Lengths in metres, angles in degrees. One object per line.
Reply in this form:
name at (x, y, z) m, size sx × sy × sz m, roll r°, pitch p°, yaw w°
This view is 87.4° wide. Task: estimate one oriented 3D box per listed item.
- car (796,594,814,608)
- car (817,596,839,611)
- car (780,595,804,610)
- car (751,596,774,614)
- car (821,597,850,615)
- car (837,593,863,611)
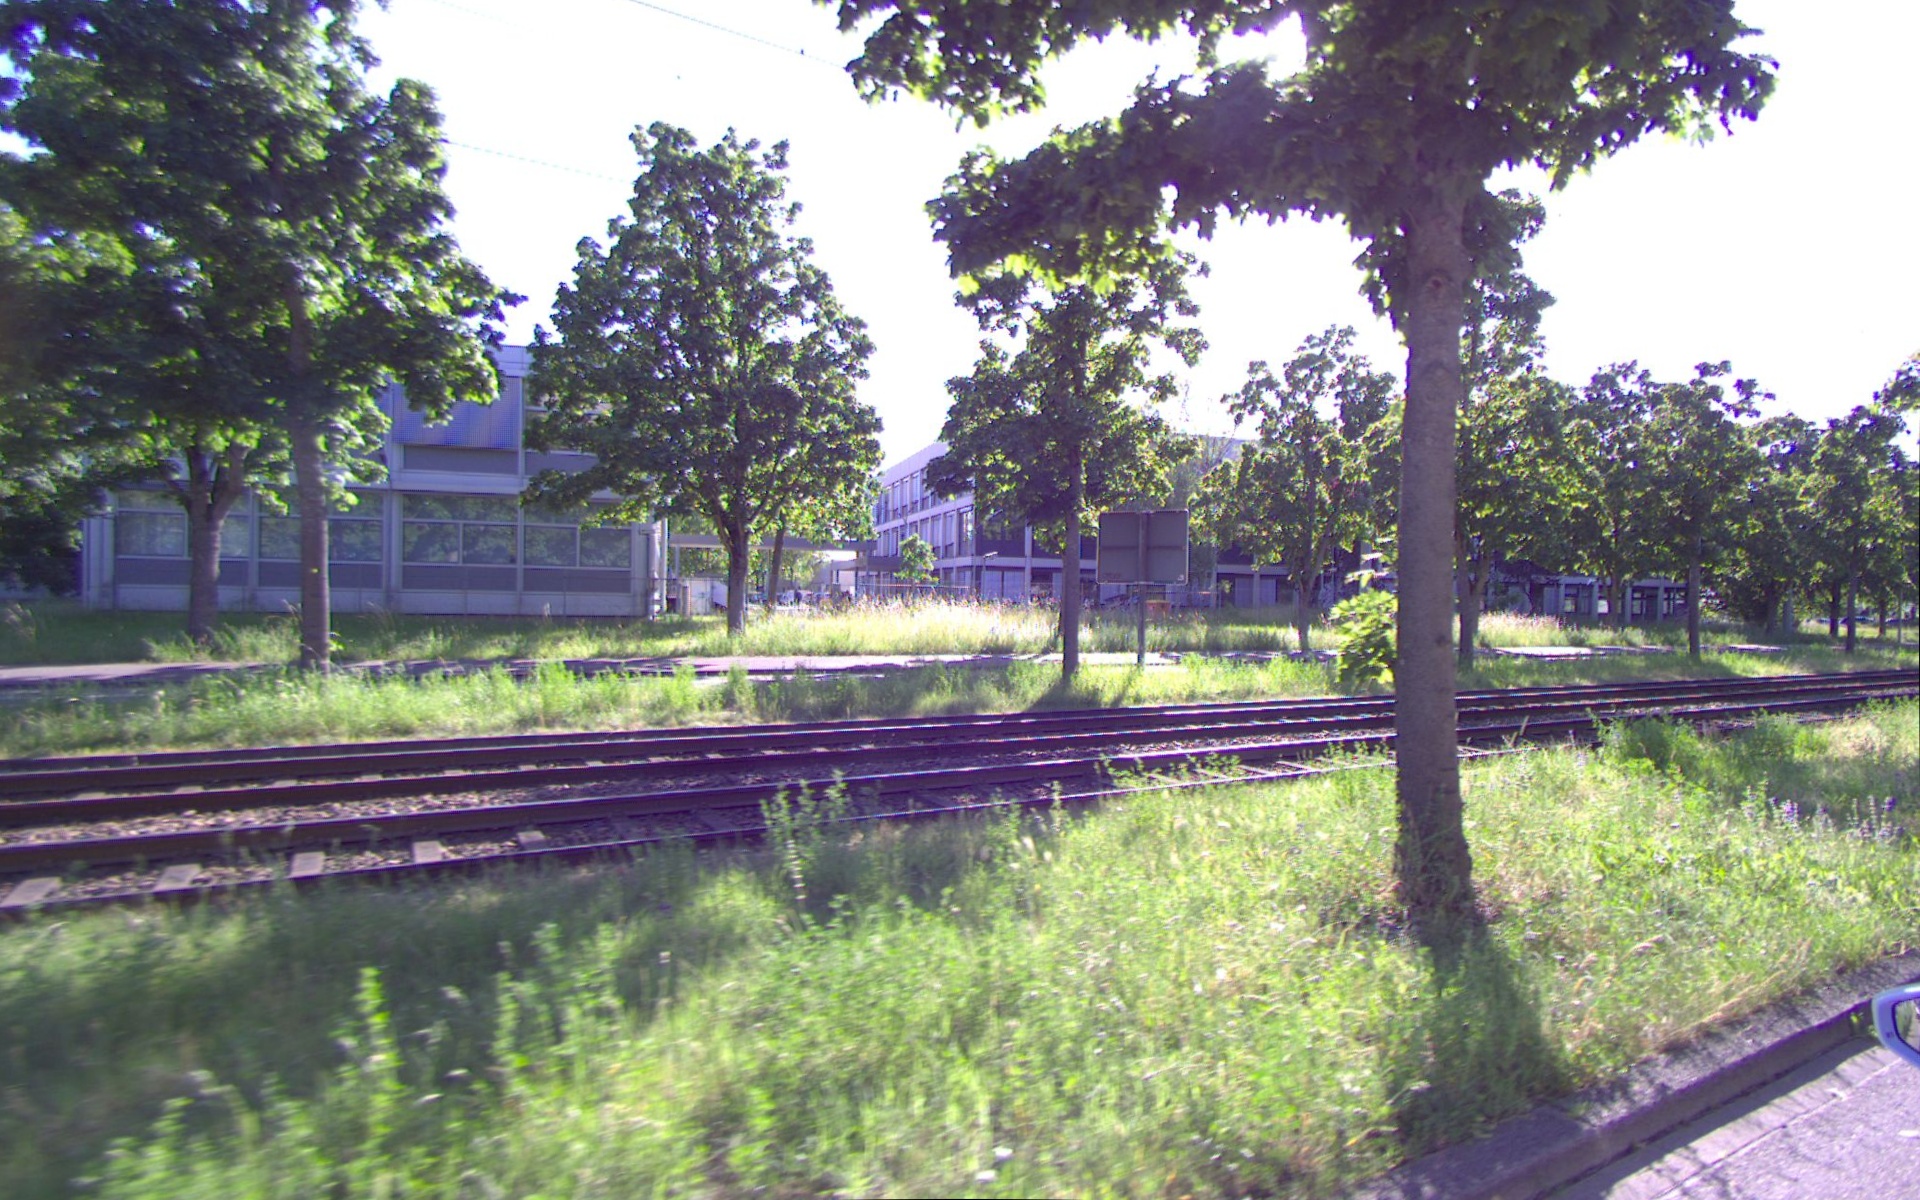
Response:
car at (-16.763, 0.074, 108.223) m, size 1.815 × 1.380 × 4.541 m, roll 1°, pitch 0°, yaw -10°
car at (-12.678, 0.306, 96.229) m, size 1.815 × 1.380 × 4.540 m, roll 1°, pitch 0°, yaw -11°
car at (-14.793, 0.225, 88.096) m, size 1.816 × 1.247 × 4.538 m, roll 1°, pitch 0°, yaw -12°
car at (-14.793, 0.347, 75.042) m, size 1.603 × 1.259 × 4.214 m, roll 1°, pitch 0°, yaw -12°
car at (-9.807, 0.447, 79.075) m, size 1.816 × 1.284 × 4.538 m, roll 1°, pitch 0°, yaw -12°
car at (-9.938, 0.189, 90.590) m, size 1.816 × 1.513 × 4.538 m, roll 1°, pitch 0°, yaw -12°
